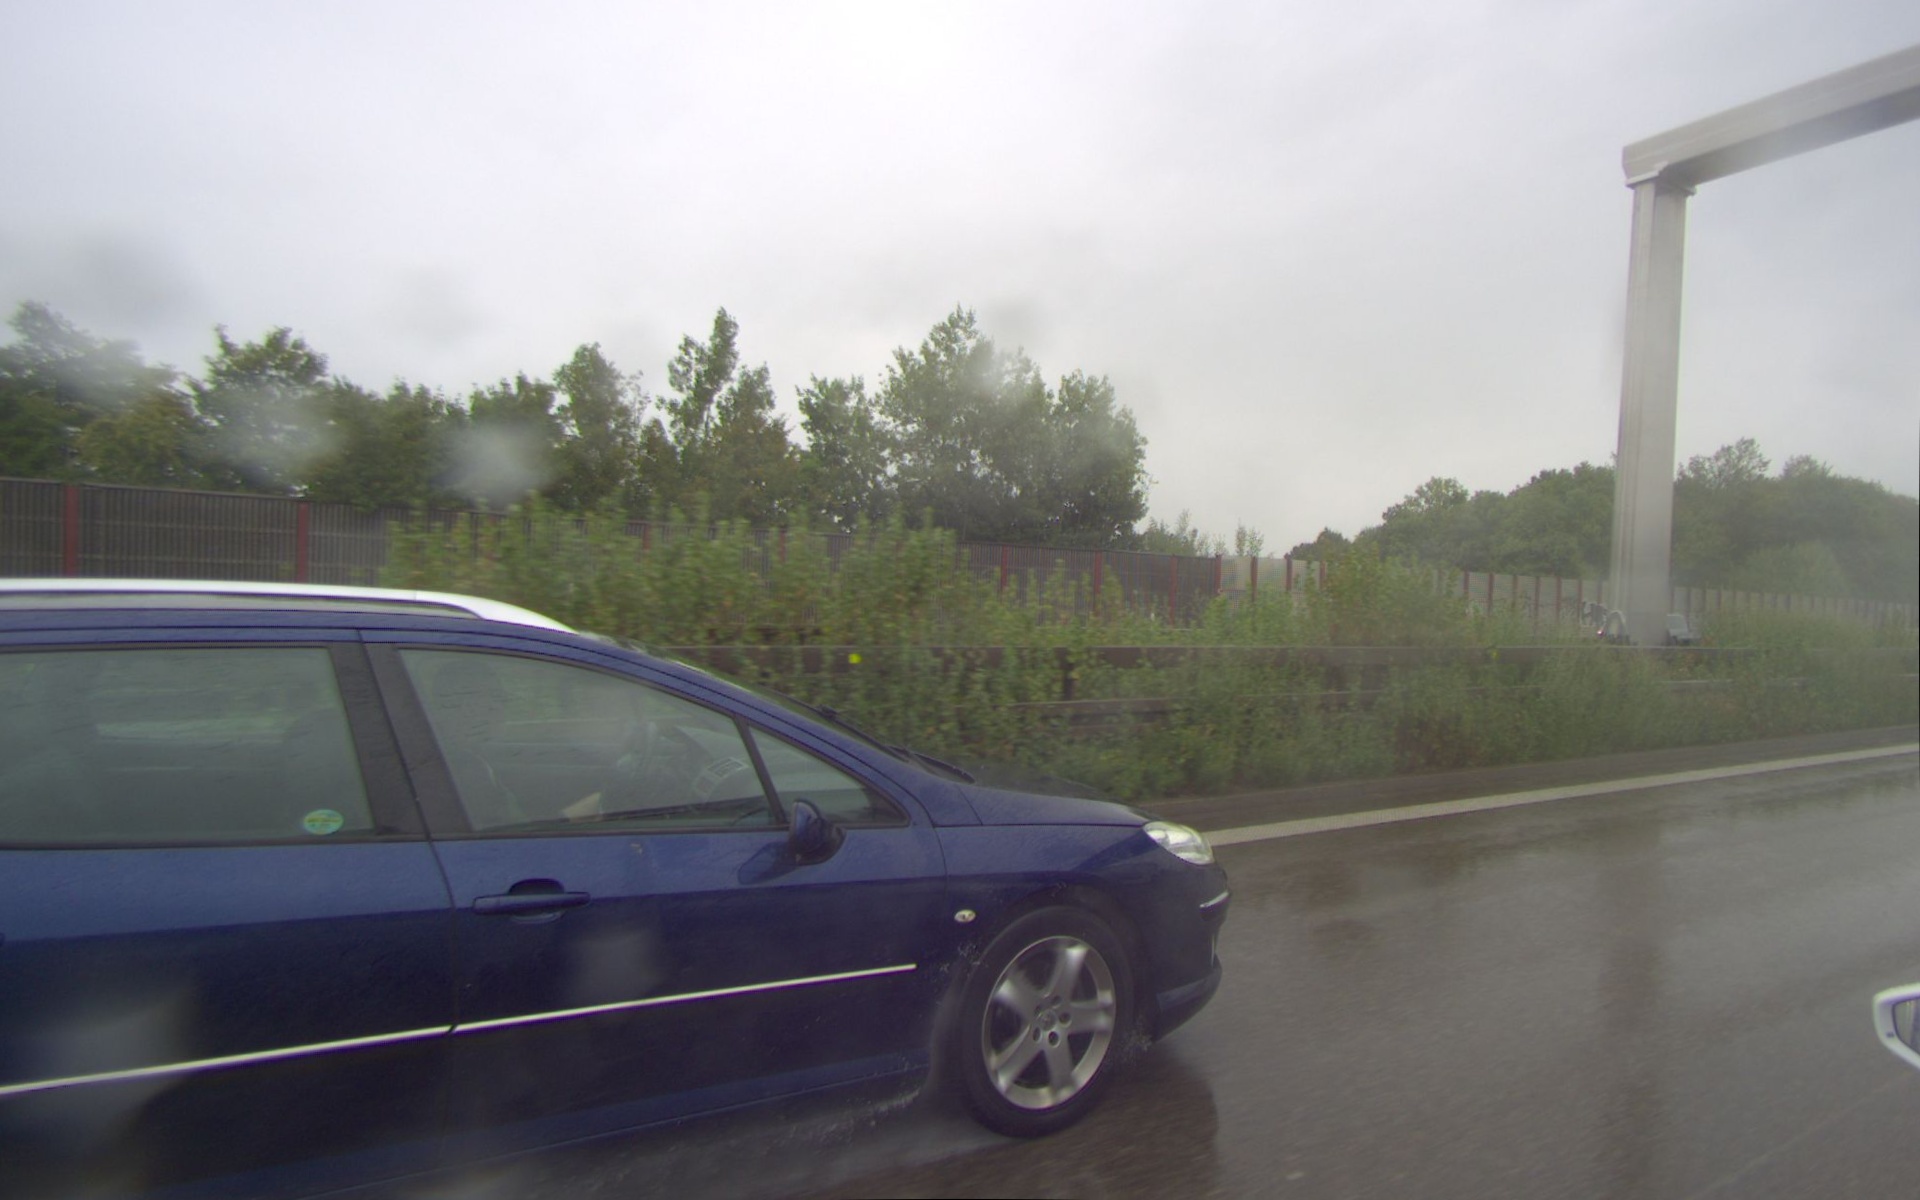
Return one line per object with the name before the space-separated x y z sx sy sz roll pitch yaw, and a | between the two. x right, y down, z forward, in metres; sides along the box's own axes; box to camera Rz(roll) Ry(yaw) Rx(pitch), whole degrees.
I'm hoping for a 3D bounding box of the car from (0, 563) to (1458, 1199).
car | -1.008 0.705 3.049 5.097 1.505 2.044 1 0 -30
